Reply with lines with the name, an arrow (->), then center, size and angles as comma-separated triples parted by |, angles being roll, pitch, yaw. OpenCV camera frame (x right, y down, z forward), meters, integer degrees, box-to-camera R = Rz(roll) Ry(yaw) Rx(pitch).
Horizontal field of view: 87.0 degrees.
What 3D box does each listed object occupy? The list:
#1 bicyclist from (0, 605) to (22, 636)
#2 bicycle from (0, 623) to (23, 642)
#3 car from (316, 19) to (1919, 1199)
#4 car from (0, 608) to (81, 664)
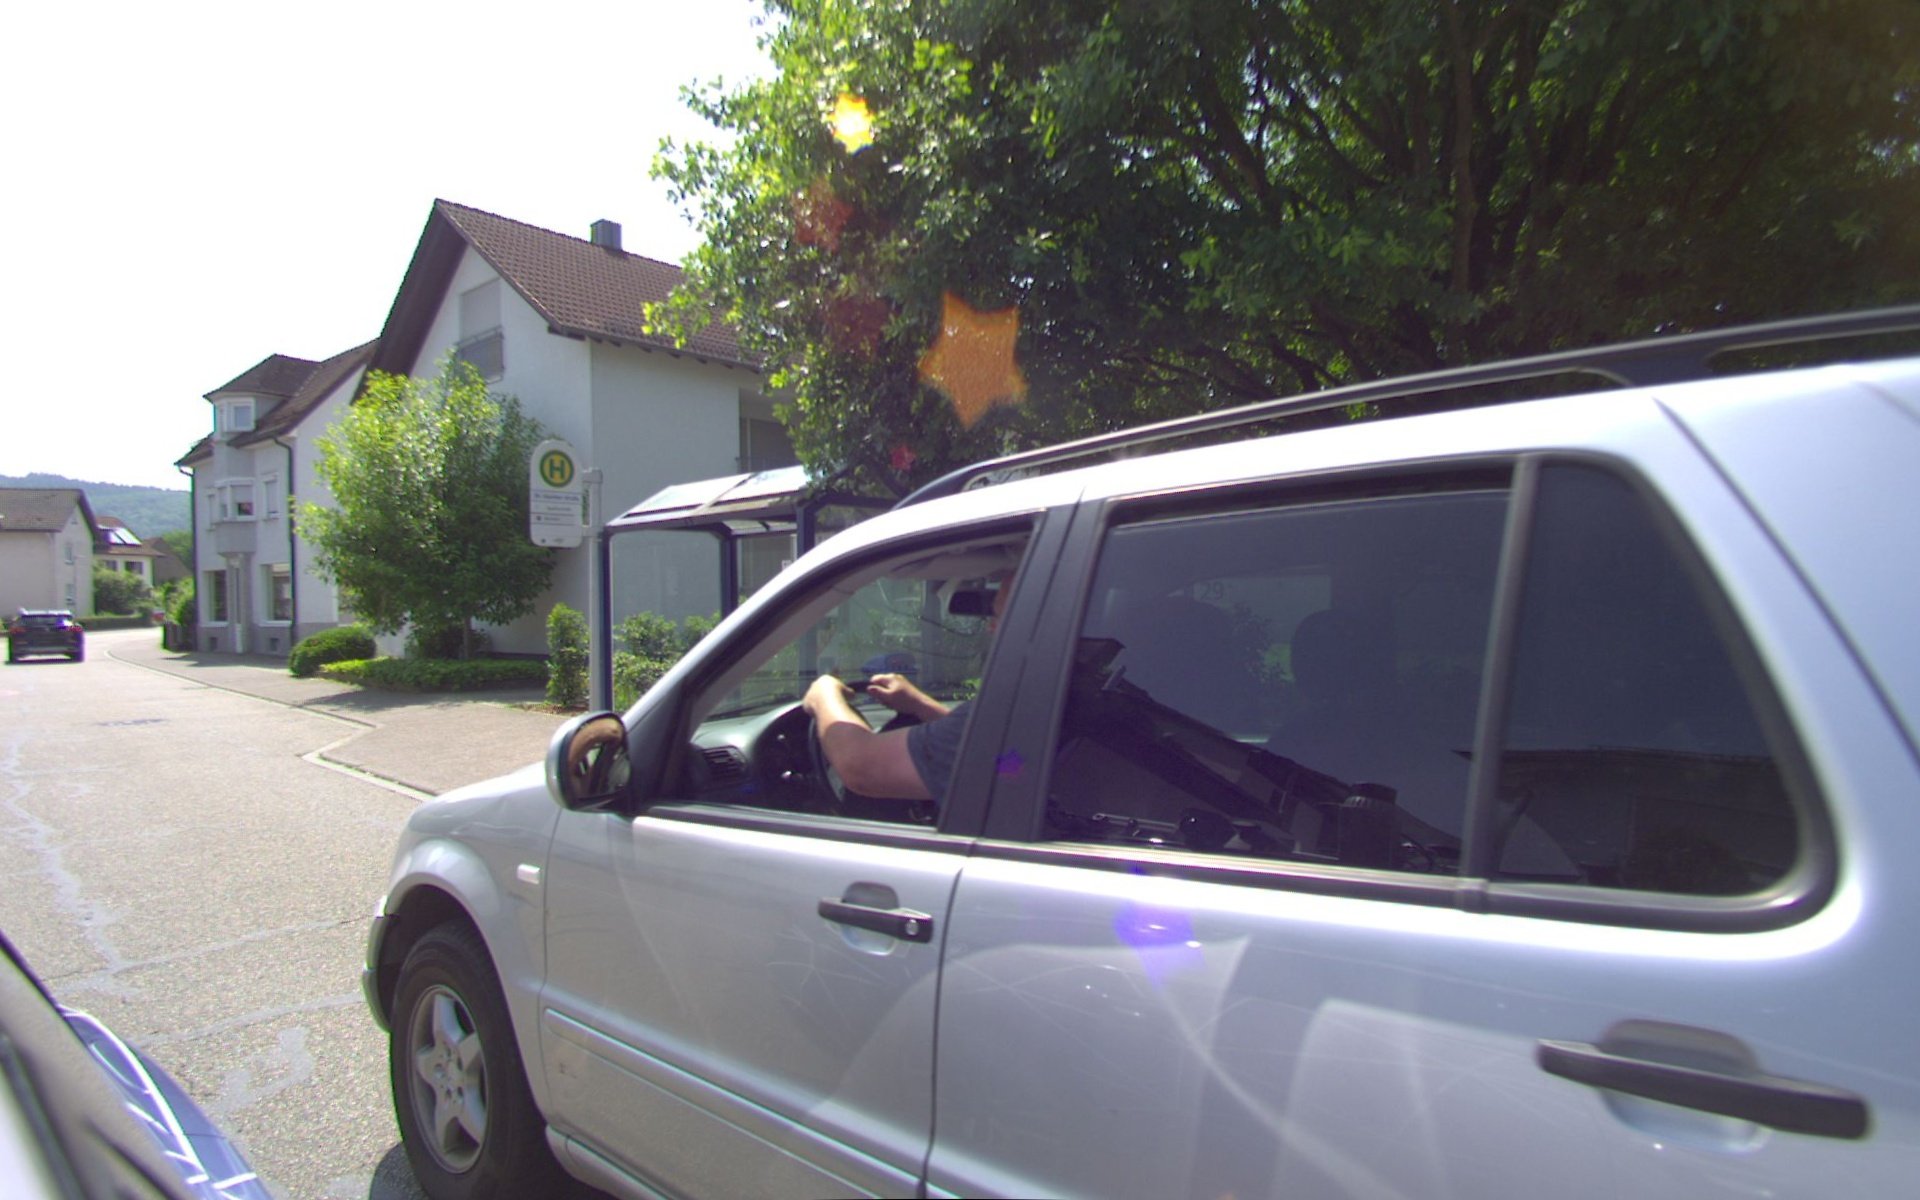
bicyclist -> -47.110, 1.007, 50.194 | 0.538, 1.501, 0.799 | -1, 0, -15
bicycle -> -47.059, 1.595, 50.028 | 0.513, 0.911, 1.317 | -1, 0, -15
car -> 0.506, 0.499, 2.070 | 4.327, 1.780, 1.866 | -2, -1, 40
car -> -28.902, 1.075, 31.706 | 4.107, 1.636, 1.756 | -1, -1, 45
